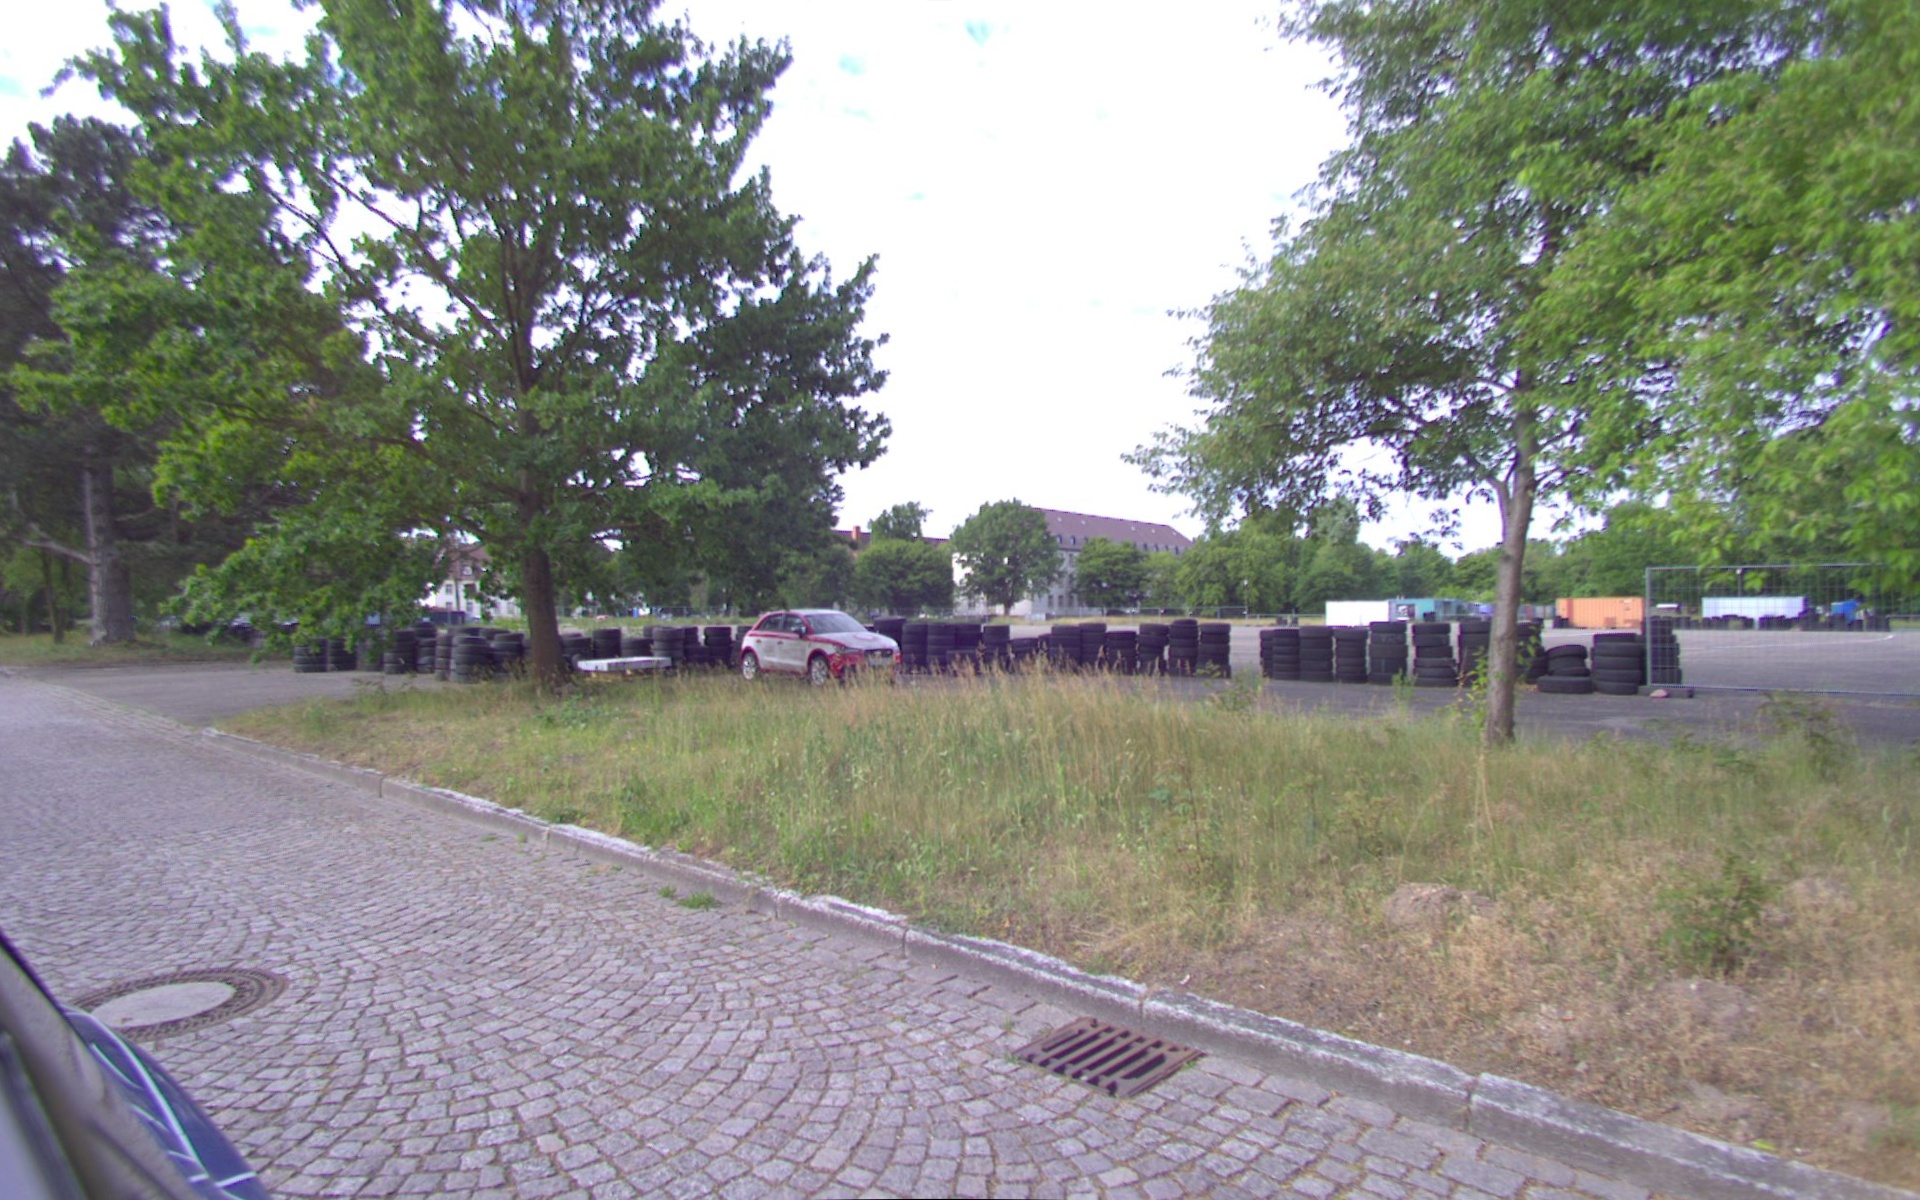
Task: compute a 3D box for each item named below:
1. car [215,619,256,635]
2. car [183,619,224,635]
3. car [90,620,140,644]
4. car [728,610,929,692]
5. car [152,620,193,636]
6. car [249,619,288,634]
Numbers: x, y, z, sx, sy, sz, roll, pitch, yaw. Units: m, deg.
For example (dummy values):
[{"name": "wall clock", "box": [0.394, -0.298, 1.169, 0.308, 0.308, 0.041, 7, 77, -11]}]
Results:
[{"name": "car", "box": [-69.751, 2.581, 97.421, 4.447, 1.460, 1.975, -1, -1, 38]}, {"name": "car", "box": [-71.335, 2.580, 95.420, 4.447, 1.460, 1.975, -1, -1, 38]}, {"name": "car", "box": [-50.852, 1.913, 60.887, 3.719, 1.421, 1.649, -1, -1, 39]}, {"name": "car", "box": [-2.680, 0.935, 19.938, 1.802, 1.442, 4.223, 0, -1, -43]}, {"name": "car", "box": [-72.585, 2.578, 93.223, 4.447, 1.460, 1.975, -1, -1, 38]}, {"name": "car", "box": [-68.297, 2.583, 99.931, 4.447, 1.460, 1.975, -1, -1, 38]}]
